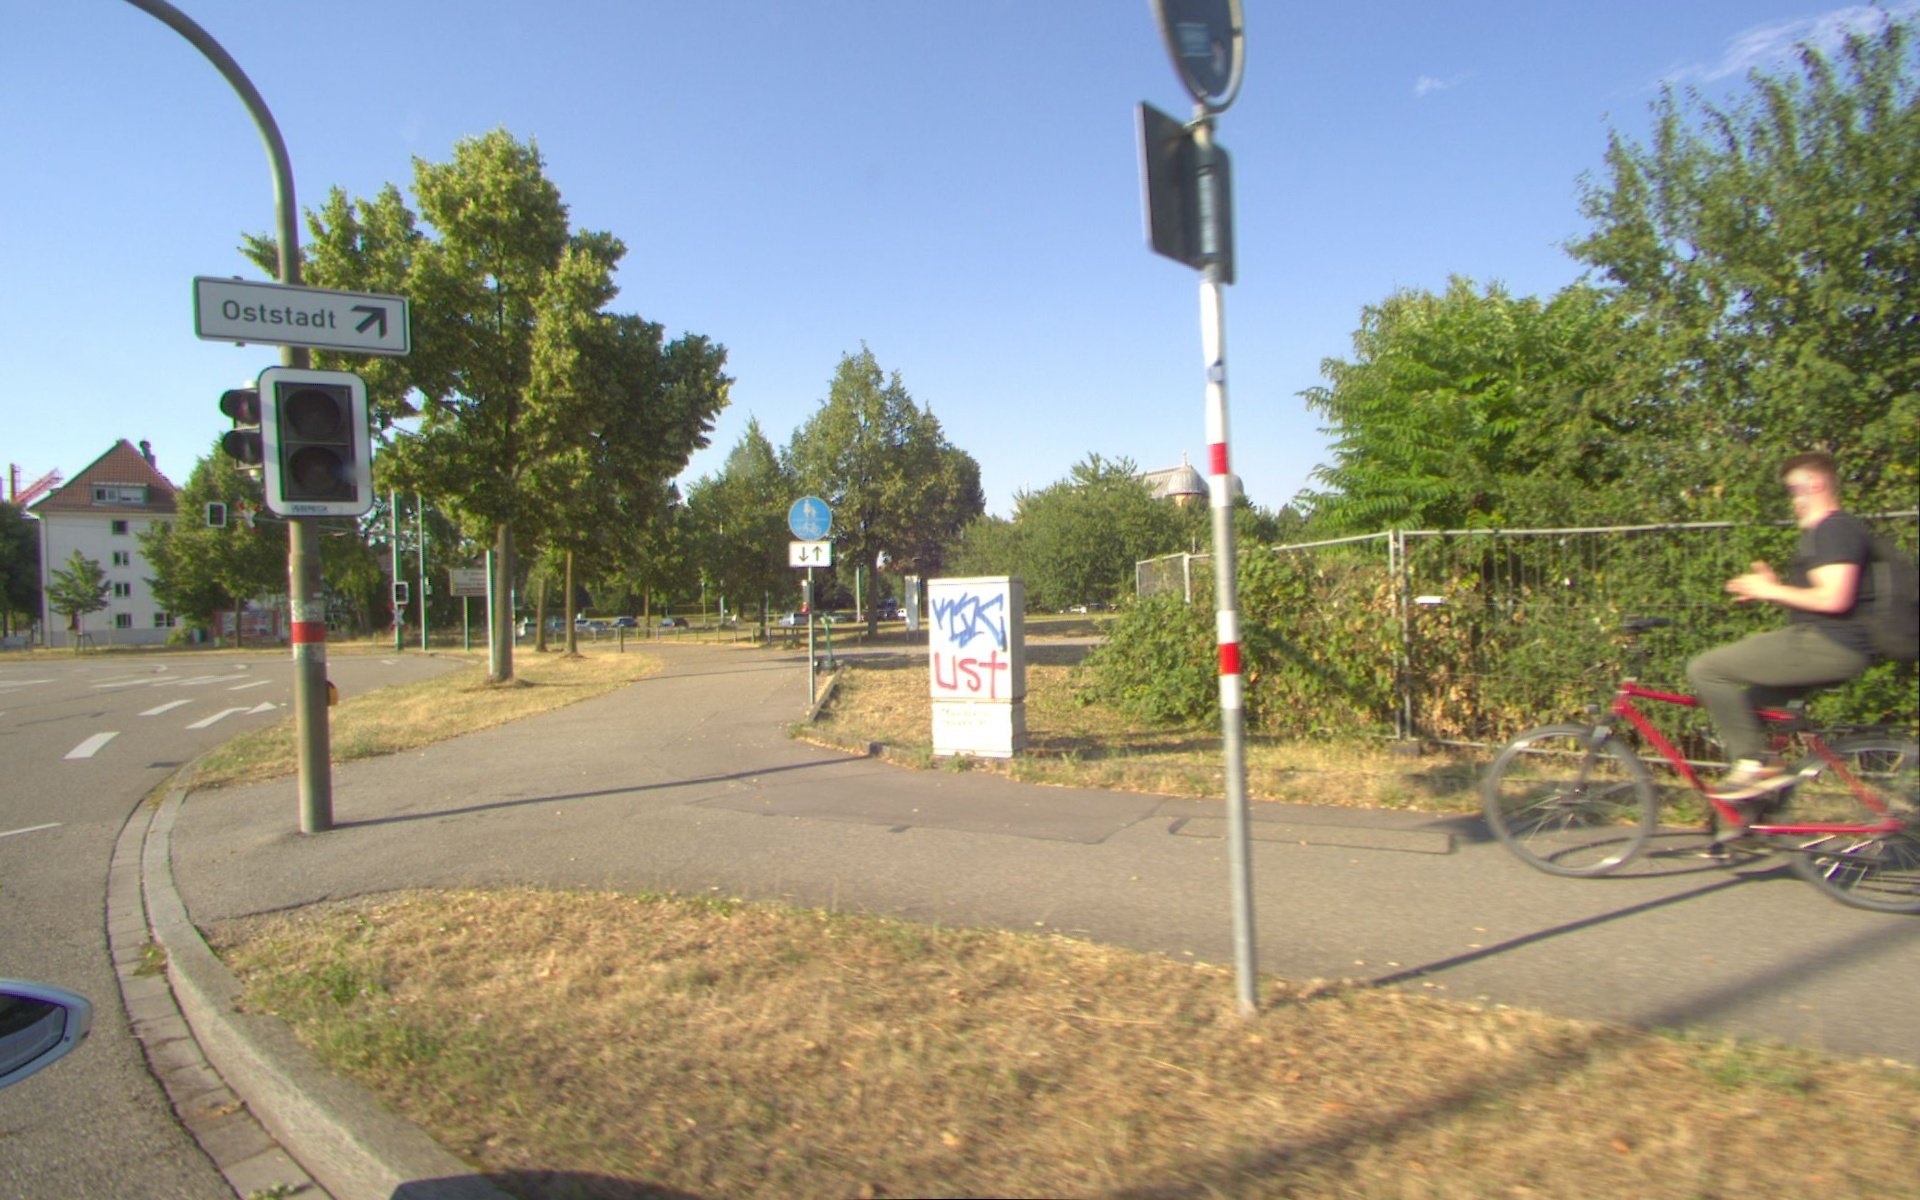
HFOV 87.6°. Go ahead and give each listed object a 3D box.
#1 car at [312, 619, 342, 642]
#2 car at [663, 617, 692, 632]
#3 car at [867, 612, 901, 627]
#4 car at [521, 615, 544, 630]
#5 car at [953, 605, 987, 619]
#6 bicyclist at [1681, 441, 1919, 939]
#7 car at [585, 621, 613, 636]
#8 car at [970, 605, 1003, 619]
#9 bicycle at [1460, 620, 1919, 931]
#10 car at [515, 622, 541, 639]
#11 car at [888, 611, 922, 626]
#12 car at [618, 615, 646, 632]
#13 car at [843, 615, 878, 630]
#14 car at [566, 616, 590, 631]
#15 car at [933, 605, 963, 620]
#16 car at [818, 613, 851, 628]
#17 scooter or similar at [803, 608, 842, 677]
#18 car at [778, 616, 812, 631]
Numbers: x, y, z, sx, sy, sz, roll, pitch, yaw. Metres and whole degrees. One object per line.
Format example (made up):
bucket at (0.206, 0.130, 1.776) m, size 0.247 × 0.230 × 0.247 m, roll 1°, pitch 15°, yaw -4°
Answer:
car at (-48.314, 2.349, 76.474) m, size 1.751 × 1.639 × 3.949 m, roll -1°, pitch -1°, yaw -30°
car at (-25.927, 2.245, 91.768) m, size 1.583 × 1.327 × 3.949 m, roll -1°, pitch -1°, yaw -30°
car at (-7.941, 2.046, 104.445) m, size 1.803 × 1.421 × 3.975 m, roll -1°, pitch -1°, yaw -34°
car at (-41.812, 2.205, 97.904) m, size 1.583 × 1.420 × 3.949 m, roll -1°, pitch -1°, yaw -30°
car at (1.052, 1.347, 110.930) m, size 1.803 × 1.421 × 3.975 m, roll -1°, pitch -1°, yaw -34°
bicyclist at (3.507, 0.338, 4.140) m, size 0.819 × 1.854 × 0.616 m, roll -1°, pitch 2°, yaw 37°
car at (-31.931, 2.534, 88.520) m, size 1.583 × 1.236 × 3.949 m, roll -1°, pitch -1°, yaw -30°
car at (2.958, 1.365, 112.743) m, size 1.803 × 1.421 × 3.975 m, roll -1°, pitch -1°, yaw -34°
bicycle at (3.261, 0.681, 4.388) m, size 1.868 × 1.174 × 0.413 m, roll -1°, pitch 1°, yaw 39°
car at (-36.850, 2.590, 85.322) m, size 1.583 × 1.420 × 3.949 m, roll -1°, pitch -1°, yaw -30°
car at (-5.878, 1.976, 106.157) m, size 1.803 × 1.421 × 3.975 m, roll -1°, pitch -1°, yaw -34°
car at (-29.330, 2.109, 89.362) m, size 1.583 × 1.420 × 3.949 m, roll -1°, pitch -1°, yaw -30°
car at (-10.276, 2.283, 103.150) m, size 1.803 × 1.421 × 3.975 m, roll -2°, pitch -1°, yaw -34°
car at (-37.636, 2.321, 98.625) m, size 1.583 × 1.420 × 3.949 m, roll -1°, pitch -1°, yaw -30°
car at (-1.511, 1.588, 123.120) m, size 1.803 × 1.694 × 3.975 m, roll -1°, pitch -1°, yaw -34°
car at (-12.832, 2.098, 102.165) m, size 1.803 × 1.421 × 3.975 m, roll -1°, pitch -1°, yaw -34°
scooter or similar at (-2.533, 0.766, 18.543) m, size 0.336 × 1.175 × 1.169 m, roll -4°, pitch 2°, yaw 7°
car at (-16.406, 2.308, 99.281) m, size 1.803 × 1.421 × 3.975 m, roll -1°, pitch -1°, yaw -34°
